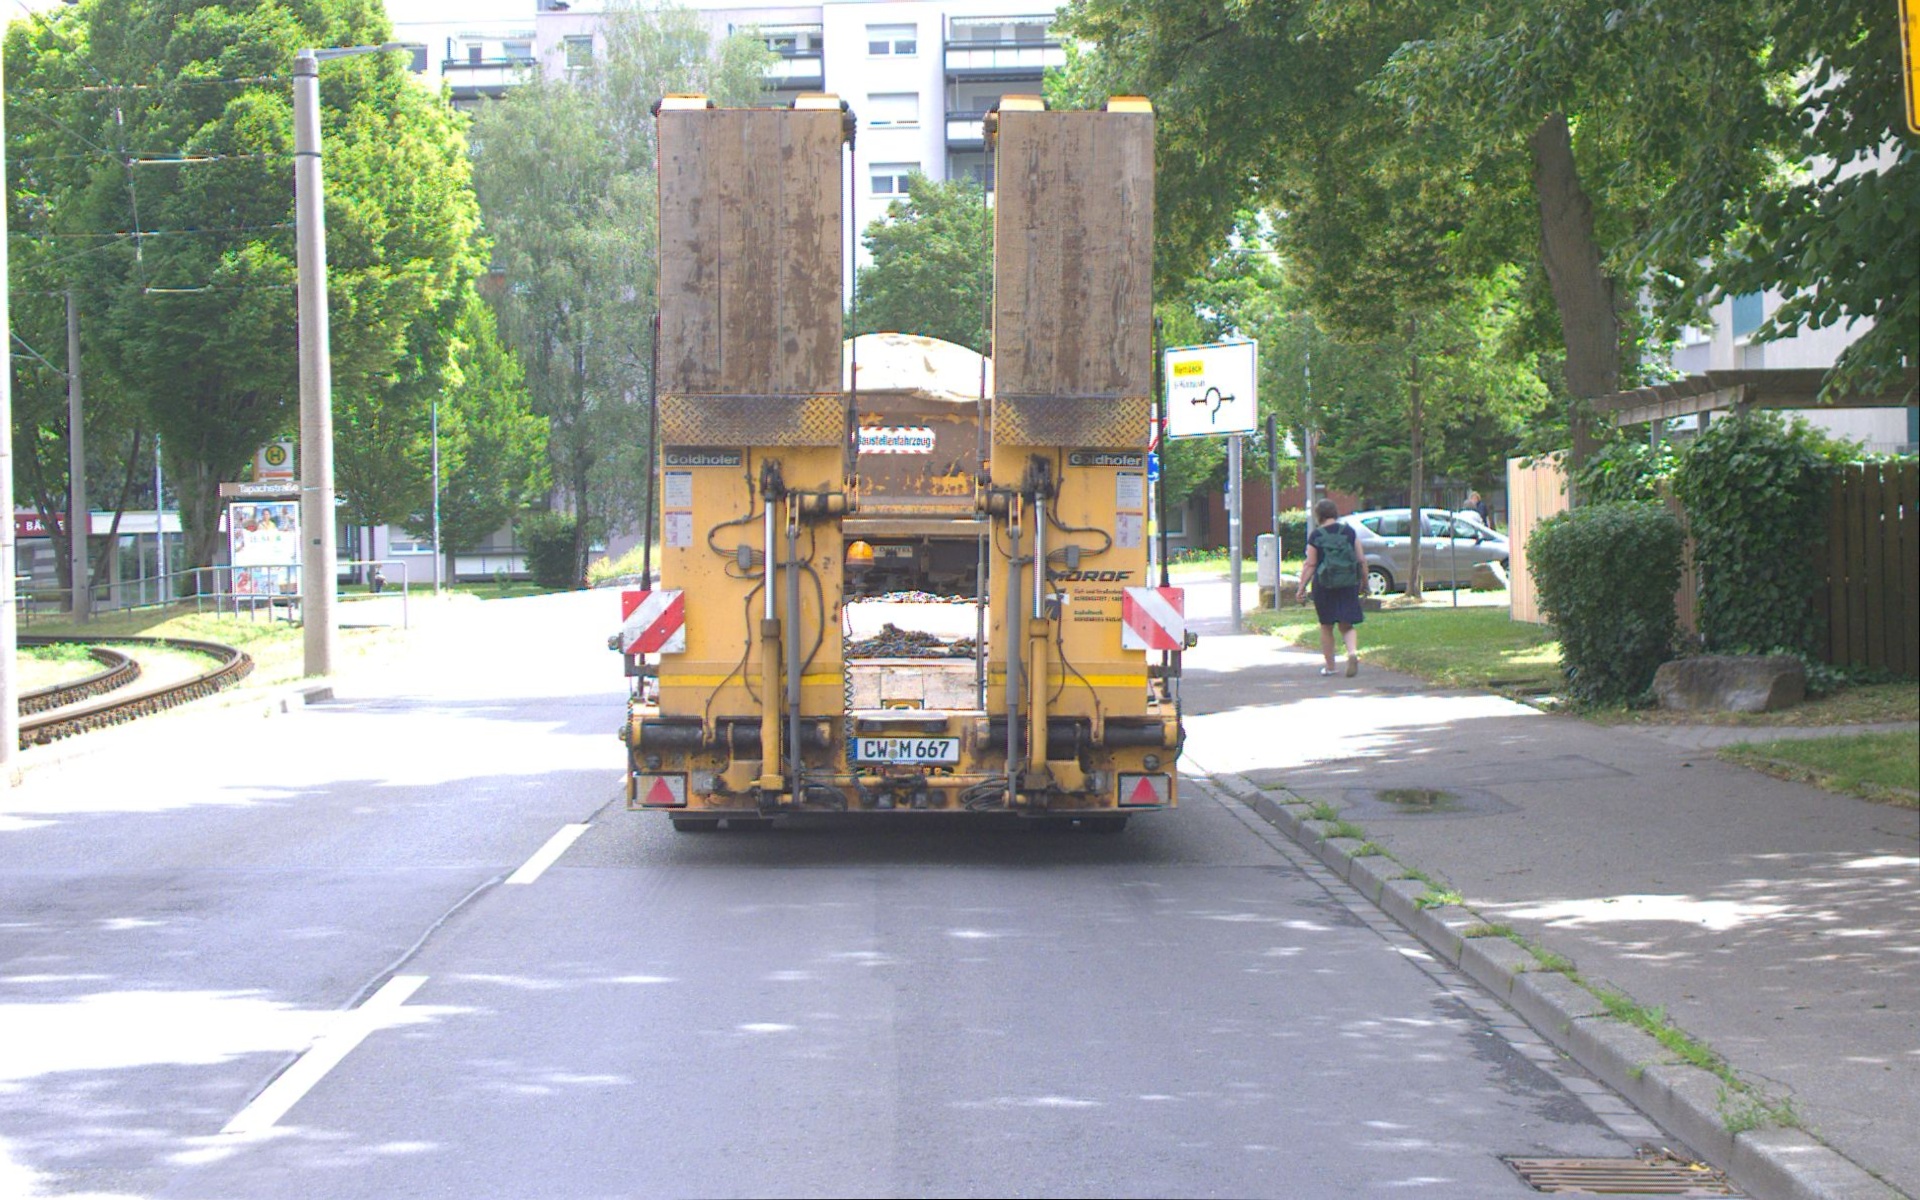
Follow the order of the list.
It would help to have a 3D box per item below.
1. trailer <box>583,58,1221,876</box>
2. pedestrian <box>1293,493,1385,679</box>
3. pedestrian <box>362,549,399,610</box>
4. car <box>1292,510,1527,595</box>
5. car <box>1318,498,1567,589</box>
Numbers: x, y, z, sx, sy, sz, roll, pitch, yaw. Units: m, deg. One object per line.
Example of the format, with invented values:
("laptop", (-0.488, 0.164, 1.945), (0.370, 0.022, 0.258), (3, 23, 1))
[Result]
("trailer", (-0.317, -0.726, 21.573), (2.827, 3.633, 12.355), (1, 1, -1))
("pedestrian", (3.560, -0.141, 32.334), (0.718, 1.700, 0.766), (-2, 2, -1))
("pedestrian", (-19.096, -0.687, 113.308), (0.907, 2.007, 0.962), (0, 1, -31))
("car", (8.404, -0.894, 64.407), (3.986, 1.556, 1.760), (0, 1, -12))
("car", (8.533, -1.007, 60.945), (3.986, 1.556, 1.760), (0, 1, -12))
